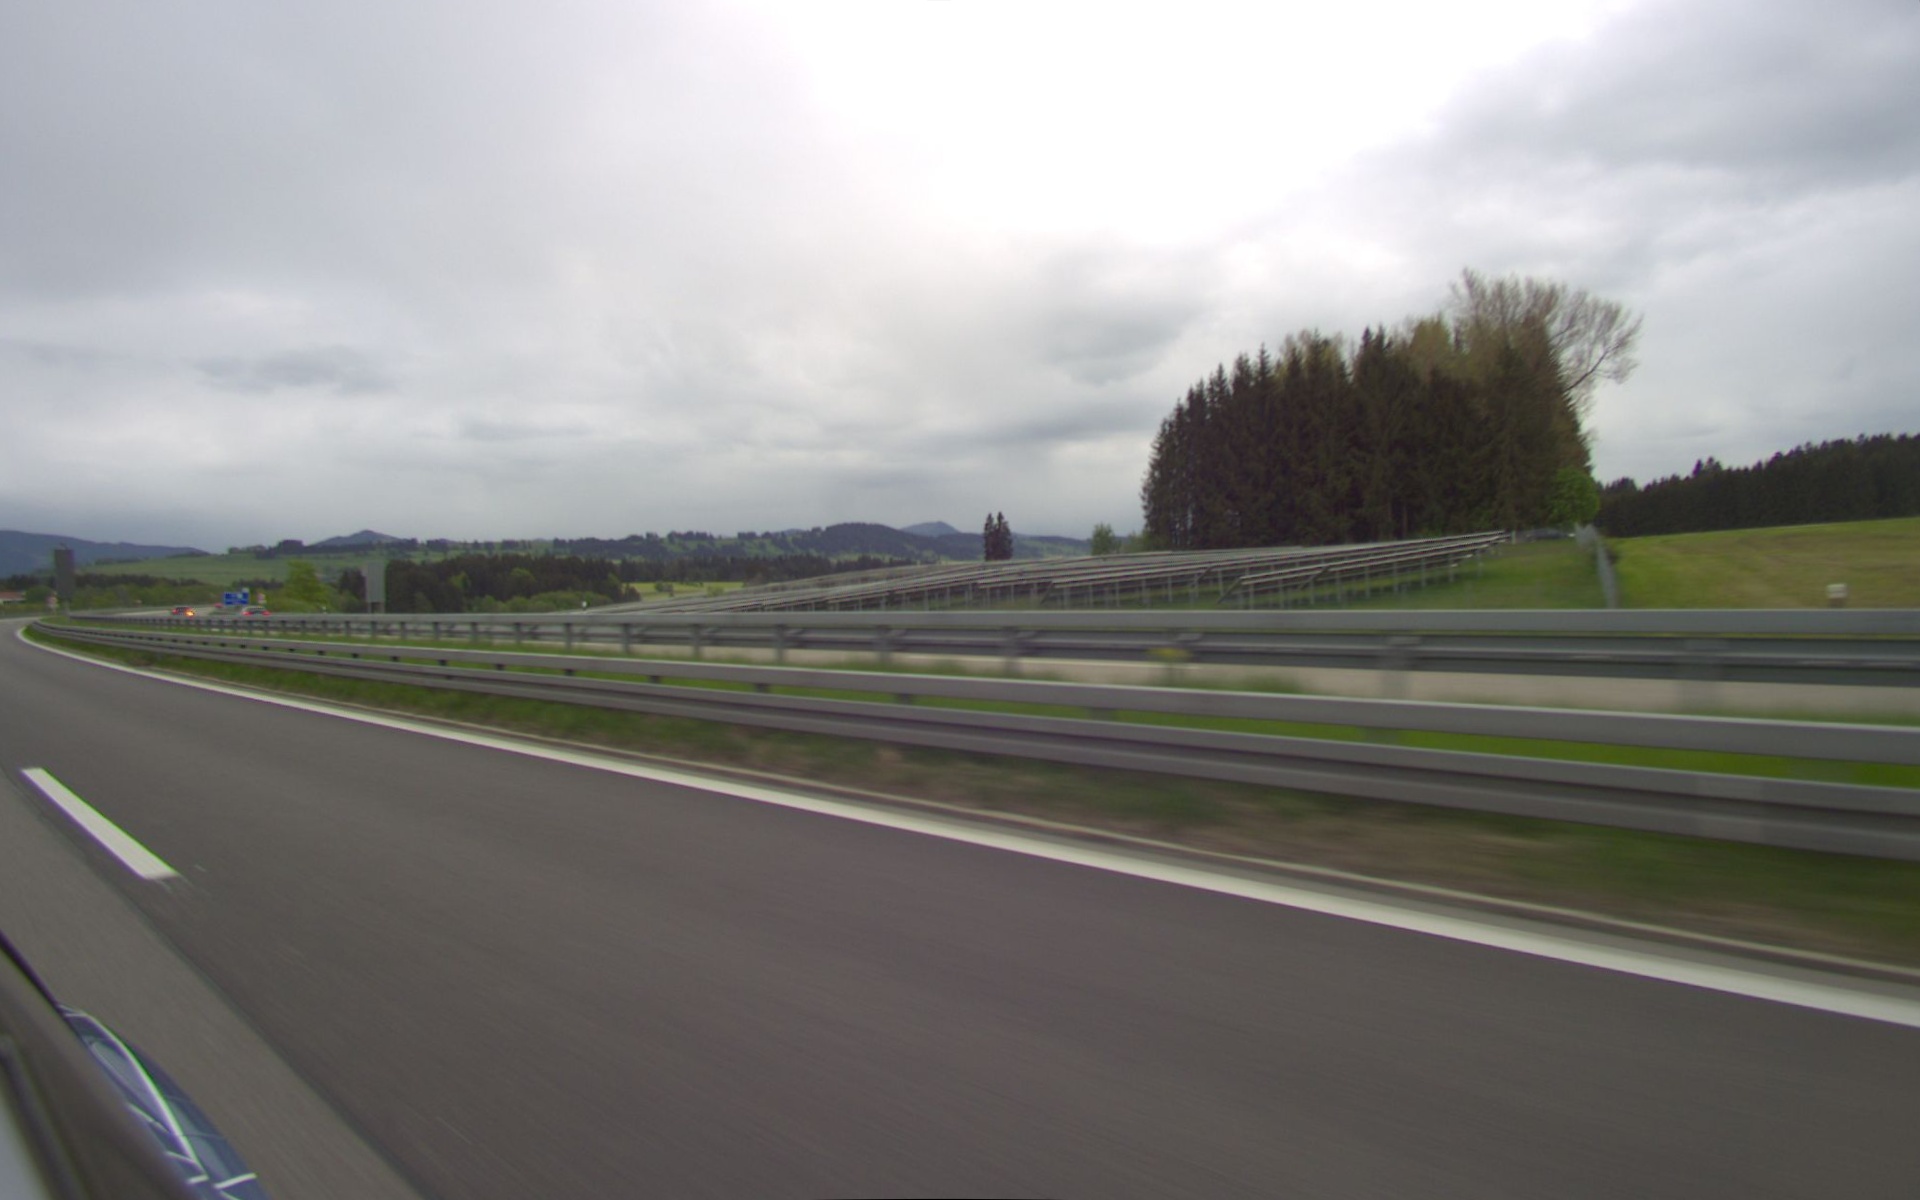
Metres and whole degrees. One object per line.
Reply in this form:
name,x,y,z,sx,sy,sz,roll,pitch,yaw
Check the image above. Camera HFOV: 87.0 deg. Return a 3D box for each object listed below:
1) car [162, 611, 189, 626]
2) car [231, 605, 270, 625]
car,-83.889,1.961,108.250,1.969,1.428,4.006,-5,2,-41
car,-60.241,1.275,85.940,1.970,1.450,5.005,-5,2,-43
